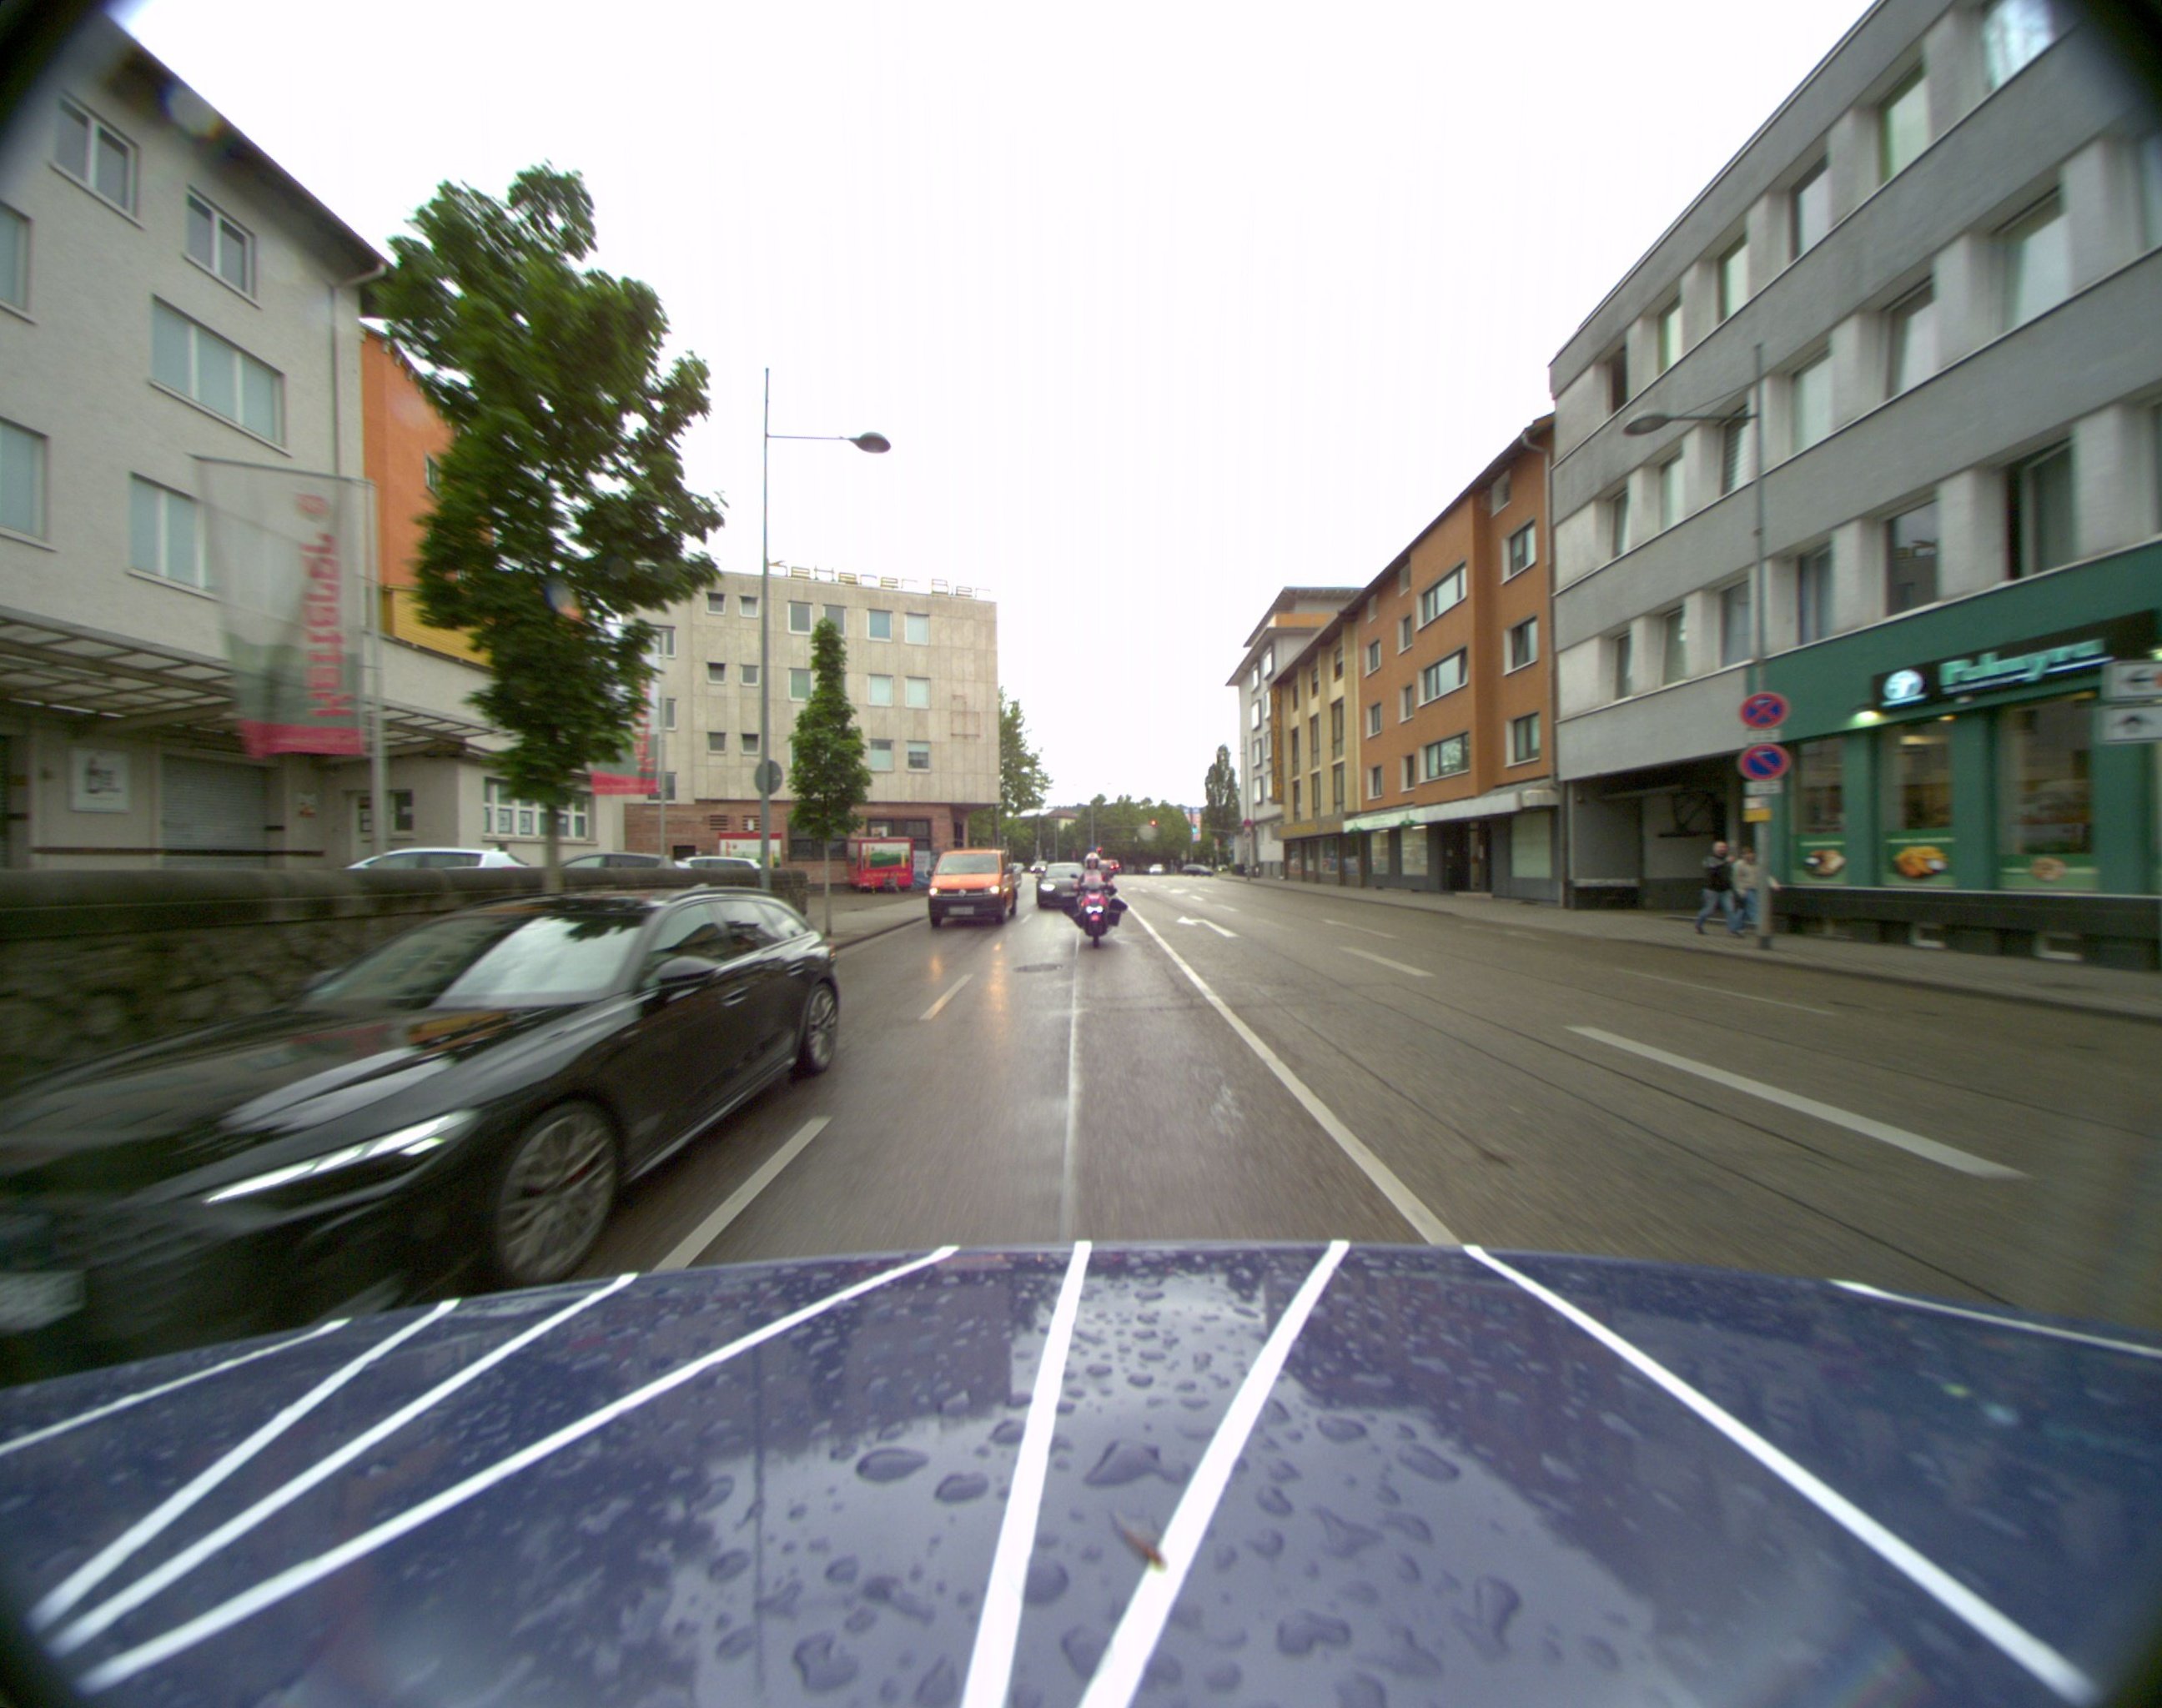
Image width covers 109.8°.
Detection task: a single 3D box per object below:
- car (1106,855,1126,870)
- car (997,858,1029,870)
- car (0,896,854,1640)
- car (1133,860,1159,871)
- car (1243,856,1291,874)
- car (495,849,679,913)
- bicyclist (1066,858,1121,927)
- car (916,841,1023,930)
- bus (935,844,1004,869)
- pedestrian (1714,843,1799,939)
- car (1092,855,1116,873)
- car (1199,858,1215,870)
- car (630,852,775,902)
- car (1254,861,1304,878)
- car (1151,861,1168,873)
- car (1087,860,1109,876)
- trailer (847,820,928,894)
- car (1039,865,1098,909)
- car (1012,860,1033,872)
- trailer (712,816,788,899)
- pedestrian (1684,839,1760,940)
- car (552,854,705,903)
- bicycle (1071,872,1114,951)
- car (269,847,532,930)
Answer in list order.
[{"bbox_3d":[3.829,0.930,82.162,1.758,1.604,4.215,0,-1,9],"label":"car"},{"bbox_3d":[-8.187,1.217,91.250,1.799,1.366,4.085,1,0,-43],"label":"car"},{"bbox_3d":[-2.834,1.072,4.002,1.794,1.394,4.633,-2,0,0],"label":"car"},{"bbox_3d":[12.990,2.312,152.048,4.839,1.930,1.954,-5,-2,31],"label":"car"},{"bbox_3d":[16.605,0.991,68.088,3.822,1.413,1.797,2,1,1],"label":"car"},{"bbox_3d":[-13.263,0.714,20.570,4.008,1.573,1.767,1,-1,-35],"label":"car"},{"bbox_3d":[0.242,0.690,13.961,0.963,1.219,0.715,-1,1,2],"label":"bicyclist"},{"bbox_3d":[-2.886,0.770,20.951,2.107,2.077,5.541,-2,0,0],"label":"car"},{"bbox_3d":[-15.705,0.350,106.451,9.632,3.197,2.711,1,-1,27],"label":"bus"},{"bbox_3d":[12.395,0.663,13.966,0.631,1.665,0.908,-5,1,0],"label":"pedestrian"},{"bbox_3d":[1.867,0.844,63.158,1.737,1.431,4.412,0,0,-2],"label":"car"},{"bbox_3d":[15.956,1.255,96.202,1.803,1.425,4.399,-2,-1,7],"label":"car"},{"bbox_3d":[-13.407,0.820,27.053,4.285,1.639,1.863,1,-2,-39],"label":"car"},{"bbox_3d":[16.419,1.284,63.086,3.632,1.330,1.495,2,0,-1],"label":"car"},{"bbox_3d":[11.155,1.821,108.248,1.894,1.566,4.366,1,0,13],"label":"car"},{"bbox_3d":[1.612,1.326,69.891,1.558,1.389,3.730,-3,-2,7],"label":"car"},{"bbox_3d":[-9.232,0.125,35.795,2.640,3.158,5.704,0,0,-26],"label":"trailer"},{"bbox_3d":[-0.523,1.088,26.622,1.897,1.396,4.360,0,-1,-3],"label":"car"},{"bbox_3d":[-11.456,2.415,149.564,1.968,2.305,5.023,0,-1,24],"label":"car"},{"bbox_3d":[-14.368,0.141,33.306,2.753,3.288,6.061,-1,0,-21],"label":"trailer"},{"bbox_3d":[11.765,0.634,13.970,0.576,1.778,0.827,-5,1,1],"label":"pedestrian"},{"bbox_3d":[-13.879,0.761,23.379,3.848,1.392,1.640,1,-2,-38],"label":"car"},{"bbox_3d":[0.250,1.024,14.379,0.717,1.298,2.428,-1,0,2],"label":"bicycle"},{"bbox_3d":[-14.335,0.674,16.272,3.989,1.558,1.922,0,-2,-41],"label":"car"}]
